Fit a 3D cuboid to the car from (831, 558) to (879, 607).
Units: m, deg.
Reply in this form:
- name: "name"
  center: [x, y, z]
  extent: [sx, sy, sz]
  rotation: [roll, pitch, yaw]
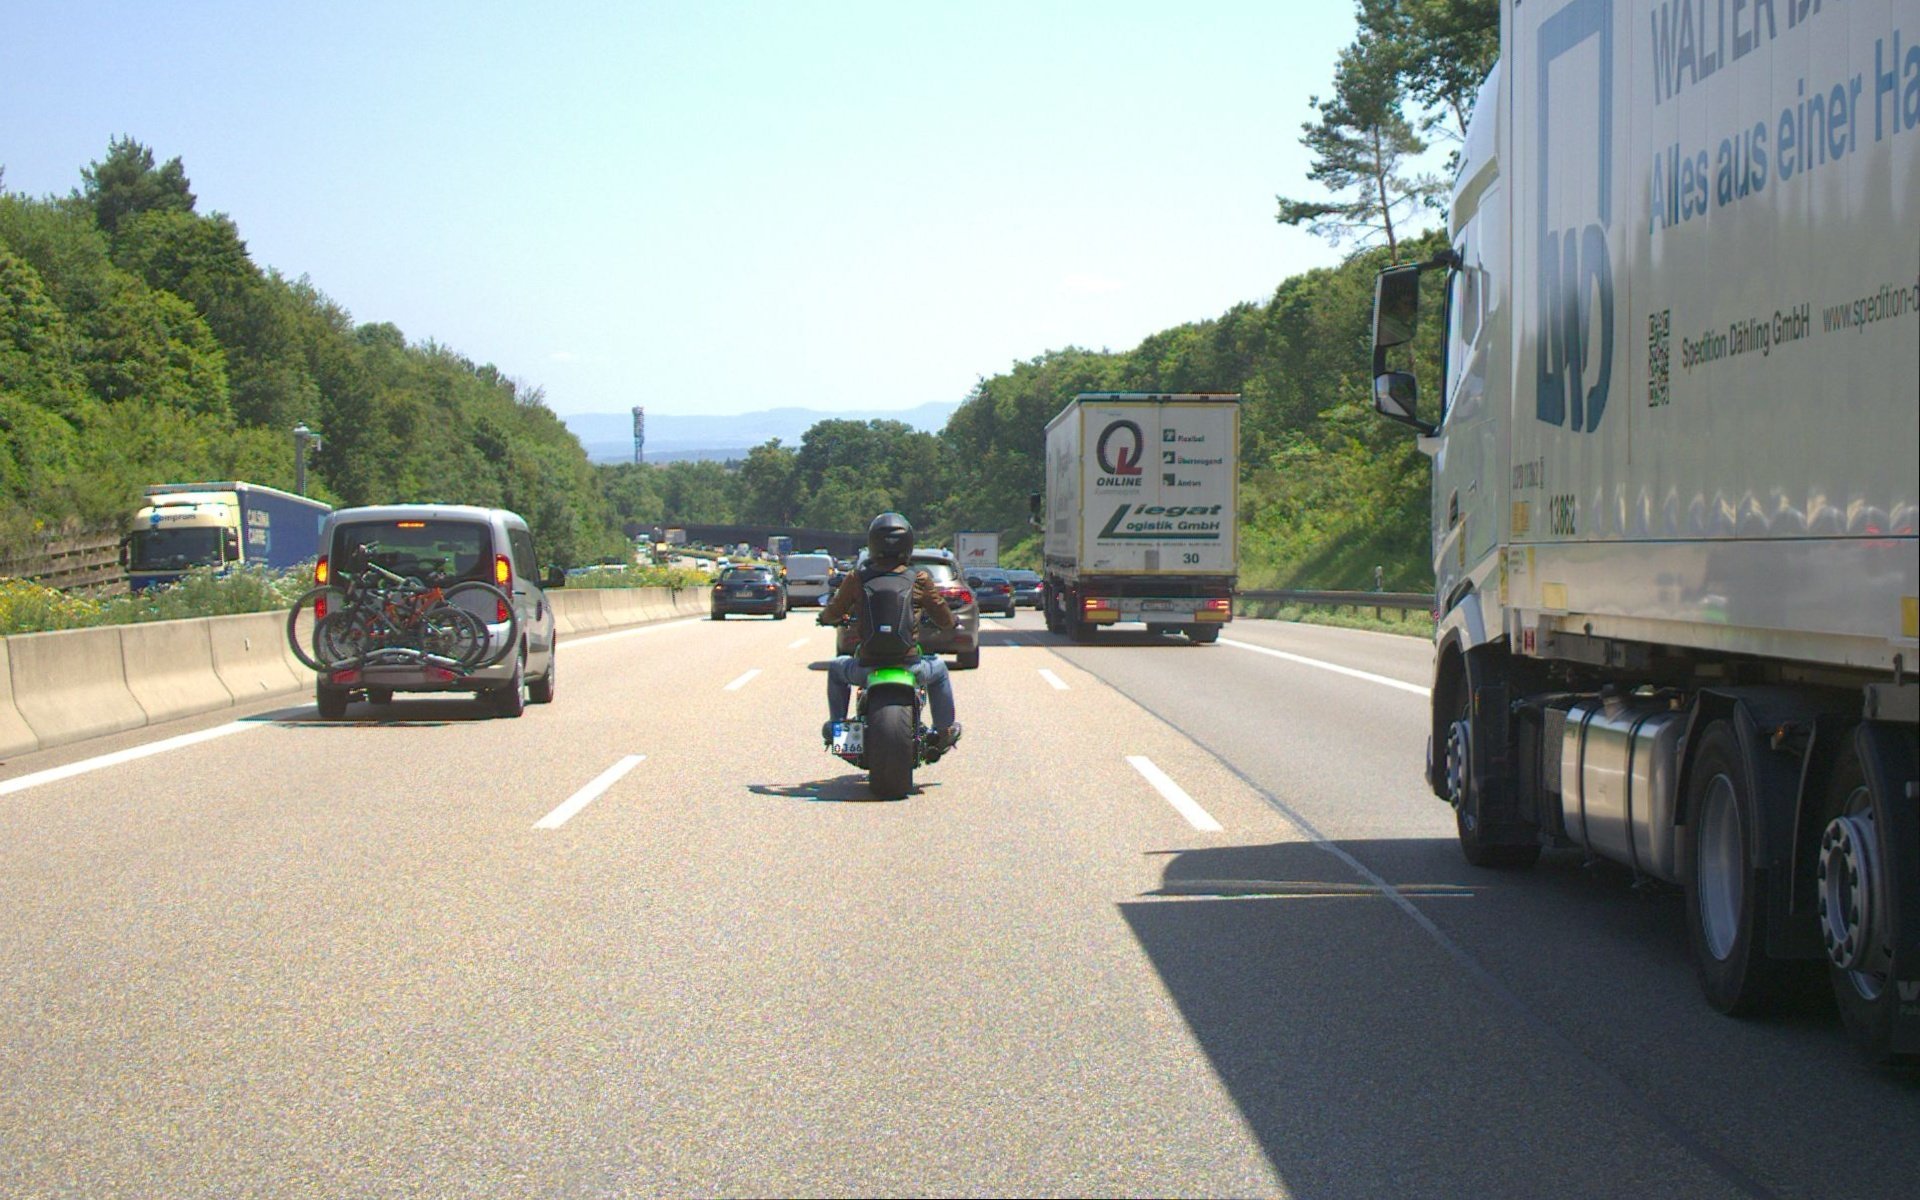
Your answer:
- name: "car"
  center: [-4.114, -0.696, 135.506]
  extent: [1.831, 1.804, 4.120]
  rotation: [1, 2, -1]

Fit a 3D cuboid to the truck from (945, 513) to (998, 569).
- name: "truck"
  center: [0.698, -3.701, 214.135]
  extent: [3.067, 3.335, 9.653]
  rotation: [2, 1, -1]

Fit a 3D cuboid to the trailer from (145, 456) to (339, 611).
- name: "trailer"
  center: [-19.889, -1.892, 96.237]
  extent: [2.680, 4.001, 14.190]
  rotation: [0, 1, -1]

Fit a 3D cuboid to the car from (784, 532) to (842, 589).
- name: "car"
  center: [-4.893, -1.351, 114.886]
  extent: [1.831, 1.804, 4.120]
  rotation: [1, 2, -1]

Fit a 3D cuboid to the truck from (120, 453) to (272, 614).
- name: "truck"
  center: [-19.770, -1.734, 89.276]
  extent: [2.680, 4.017, 5.932]
  rotation: [0, 1, -1]

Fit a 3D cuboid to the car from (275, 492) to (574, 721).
- name: "car"
  center: [-4.657, 0.011, 30.663]
  extent: [1.898, 1.841, 5.483]
  rotation: [1, 1, -1]

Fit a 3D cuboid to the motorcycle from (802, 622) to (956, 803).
- name: "motorcycle"
  center: [-0.460, 0.643, 20.569]
  extent: [0.862, 0.978, 2.131]
  rotation: [0, 1, 0]

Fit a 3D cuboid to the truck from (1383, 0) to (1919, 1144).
- name: "truck"
  center: [3.606, -0.797, 12.232]
  extent: [2.680, 4.045, 10.627]
  rotation: [0, 1, -1]

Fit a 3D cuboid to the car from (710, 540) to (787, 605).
- name: "car"
  center: [-5.379, -0.710, 87.686]
  extent: [1.757, 1.538, 4.395]
  rotation: [1, 2, -1]

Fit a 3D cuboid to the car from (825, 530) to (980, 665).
- name: "car"
  center: [-0.728, -0.076, 43.343]
  extent: [1.845, 1.552, 4.440]
  rotation: [1, 2, -1]

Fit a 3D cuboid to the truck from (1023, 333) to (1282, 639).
- name: "truck"
  center: [3.184, -2.002, 62.842]
  extent: [3.383, 4.701, 17.710]
  rotation: [2, 1, -1]

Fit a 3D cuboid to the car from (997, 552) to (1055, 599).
- name: "car"
  center: [2.261, -0.858, 118.895]
  extent: [1.831, 1.521, 4.028]
  rotation: [1, 2, -1]

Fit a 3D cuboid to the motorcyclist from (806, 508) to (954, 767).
- name: "motorcyclist"
  center: [-0.466, 0.211, 20.512]
  extent: [0.856, 1.510, 0.914]
  rotation: [0, 1, 0]

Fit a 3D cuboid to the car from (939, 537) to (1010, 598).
- name: "car"
  center: [0.376, -0.904, 94.156]
  extent: [1.831, 1.553, 4.120]
  rotation: [1, 2, -1]
